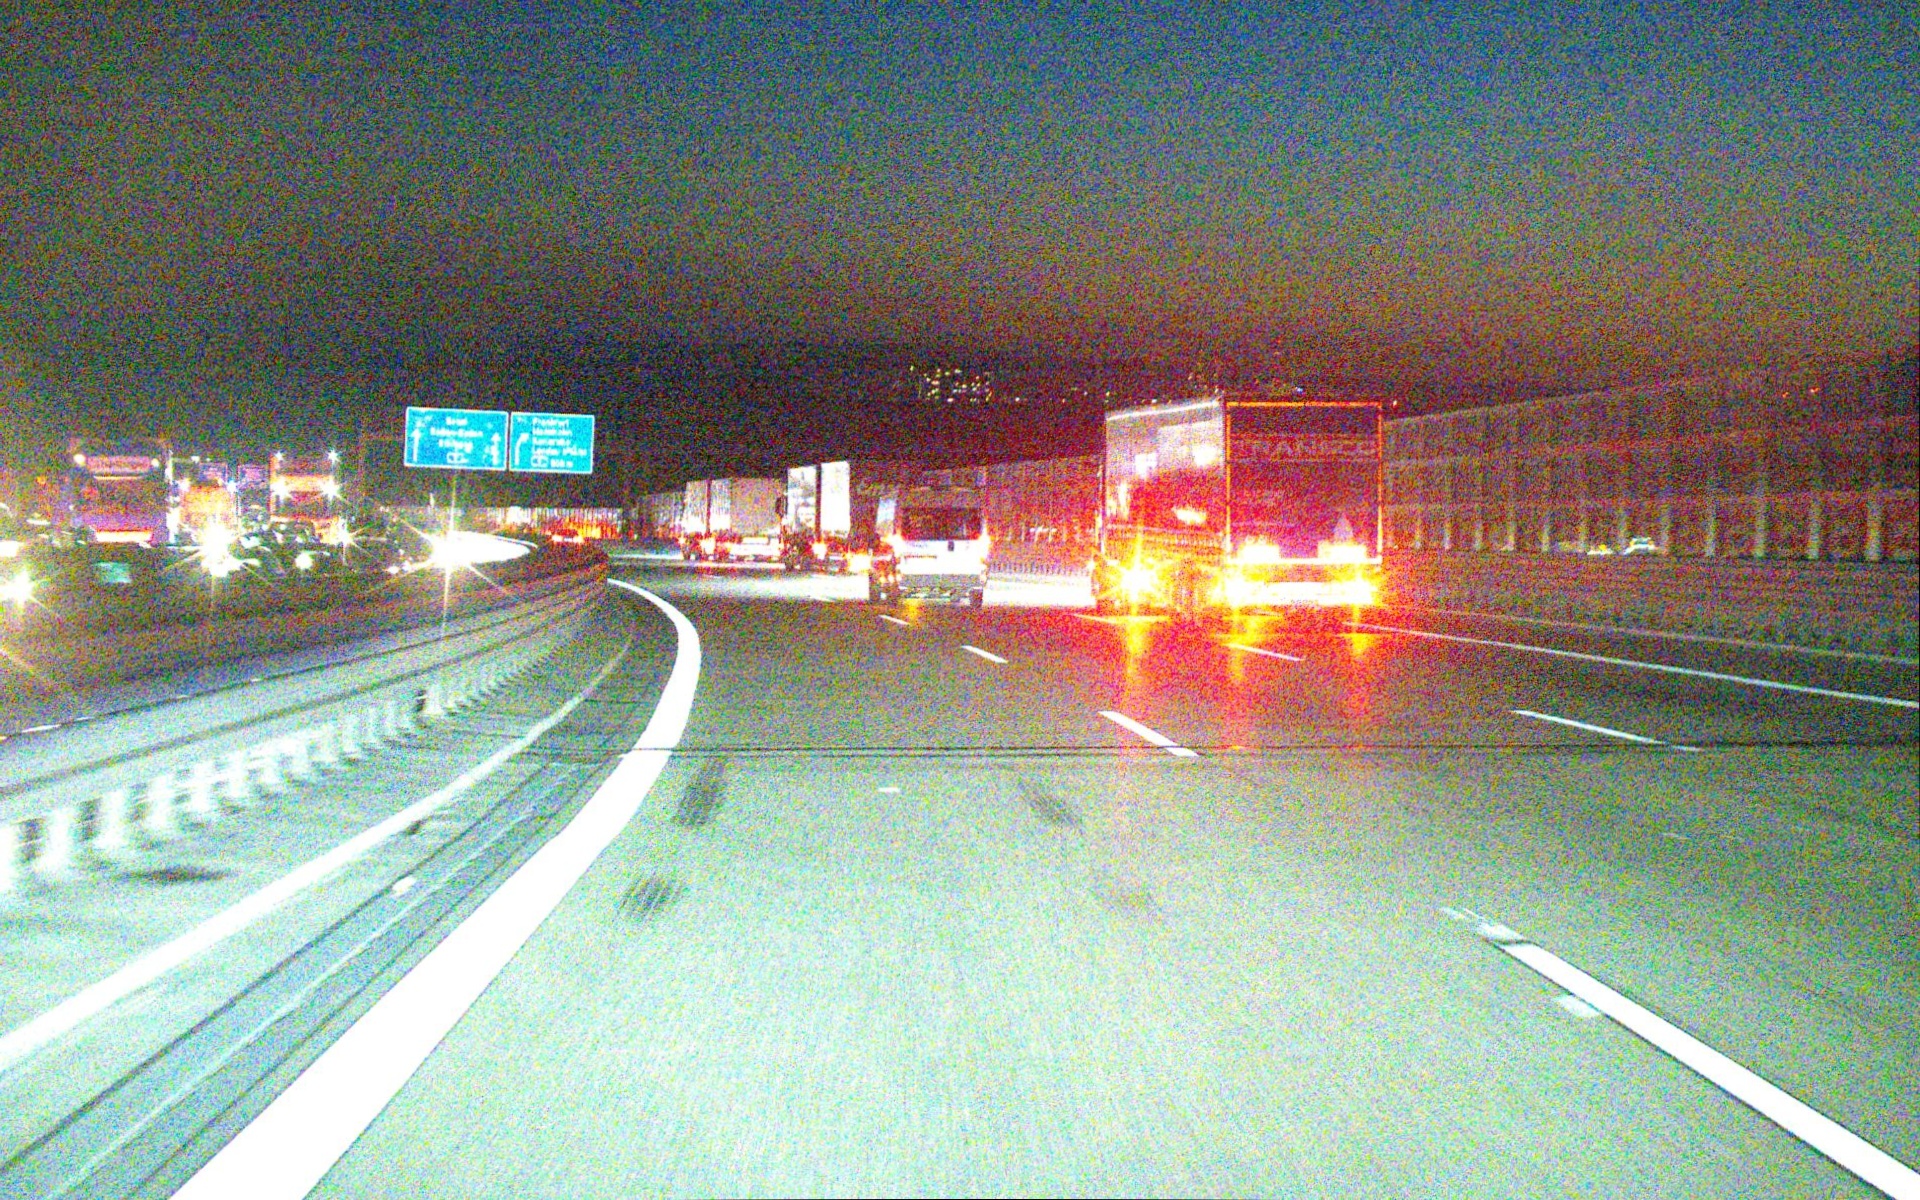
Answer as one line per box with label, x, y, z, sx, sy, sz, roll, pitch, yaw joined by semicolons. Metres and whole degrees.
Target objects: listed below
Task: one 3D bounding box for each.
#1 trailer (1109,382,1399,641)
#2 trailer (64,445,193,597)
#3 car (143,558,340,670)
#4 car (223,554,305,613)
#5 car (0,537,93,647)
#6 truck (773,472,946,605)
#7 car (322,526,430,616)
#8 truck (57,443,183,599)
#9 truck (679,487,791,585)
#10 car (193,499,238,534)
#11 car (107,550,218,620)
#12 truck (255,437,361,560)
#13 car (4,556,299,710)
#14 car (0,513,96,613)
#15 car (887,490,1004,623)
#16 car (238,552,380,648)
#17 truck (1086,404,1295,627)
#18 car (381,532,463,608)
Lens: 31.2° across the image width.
trailer;4.903;-1.485;60.469;2.853;4.053;13.207;0;1;-5
trailer;-22.395;-2.146;92.972;2.819;3.904;8.742;-1;1;-10
car;-10.025;0.173;48.313;1.903;1.487;4.868;0;0;-2
car;-17.646;-0.404;87.295;1.628;1.346;4.001;4;-1;-6
car;-13.737;-0.124;48.810;1.903;1.487;4.868;0;0;-4
truck;-4.032;-2.382;129.418;3.914;4.611;21.024;0;1;-9
car;-12.785;-0.629;75.512;1.875;1.916;4.868;0;0;-4
truck;-21.636;-2.050;88.746;2.827;3.903;4.936;-1;1;-10
truck;-11.187;-3.155;169.266;3.343;4.461;13.914;3;0;-12
car;-32.163;-3.601;148.552;1.653;1.472;3.775;0;1;-8
car;-17.425;-0.331;75.257;1.903;1.487;4.869;0;0;-8
truck;-24.029;-3.694;126.953;3.108;4.083;7.077;4;-1;-7
car;-8.355;0.312;35.959;1.904;1.487;4.867;0;0;0
car;-19.397;-0.738;70.884;1.903;1.880;5.021;1;-1;-1
car;-0.342;-0.887;73.618;2.337;2.631;5.247;2;-1;-1
car;-10.995;0.040;58.352;1.626;1.487;4.867;2;-1;-2
truck;4.357;-1.590;66.573;2.861;4.063;7.512;0;1;-5
car;-13.960;-0.767;89.450;1.875;1.916;5.605;0;0;-7
